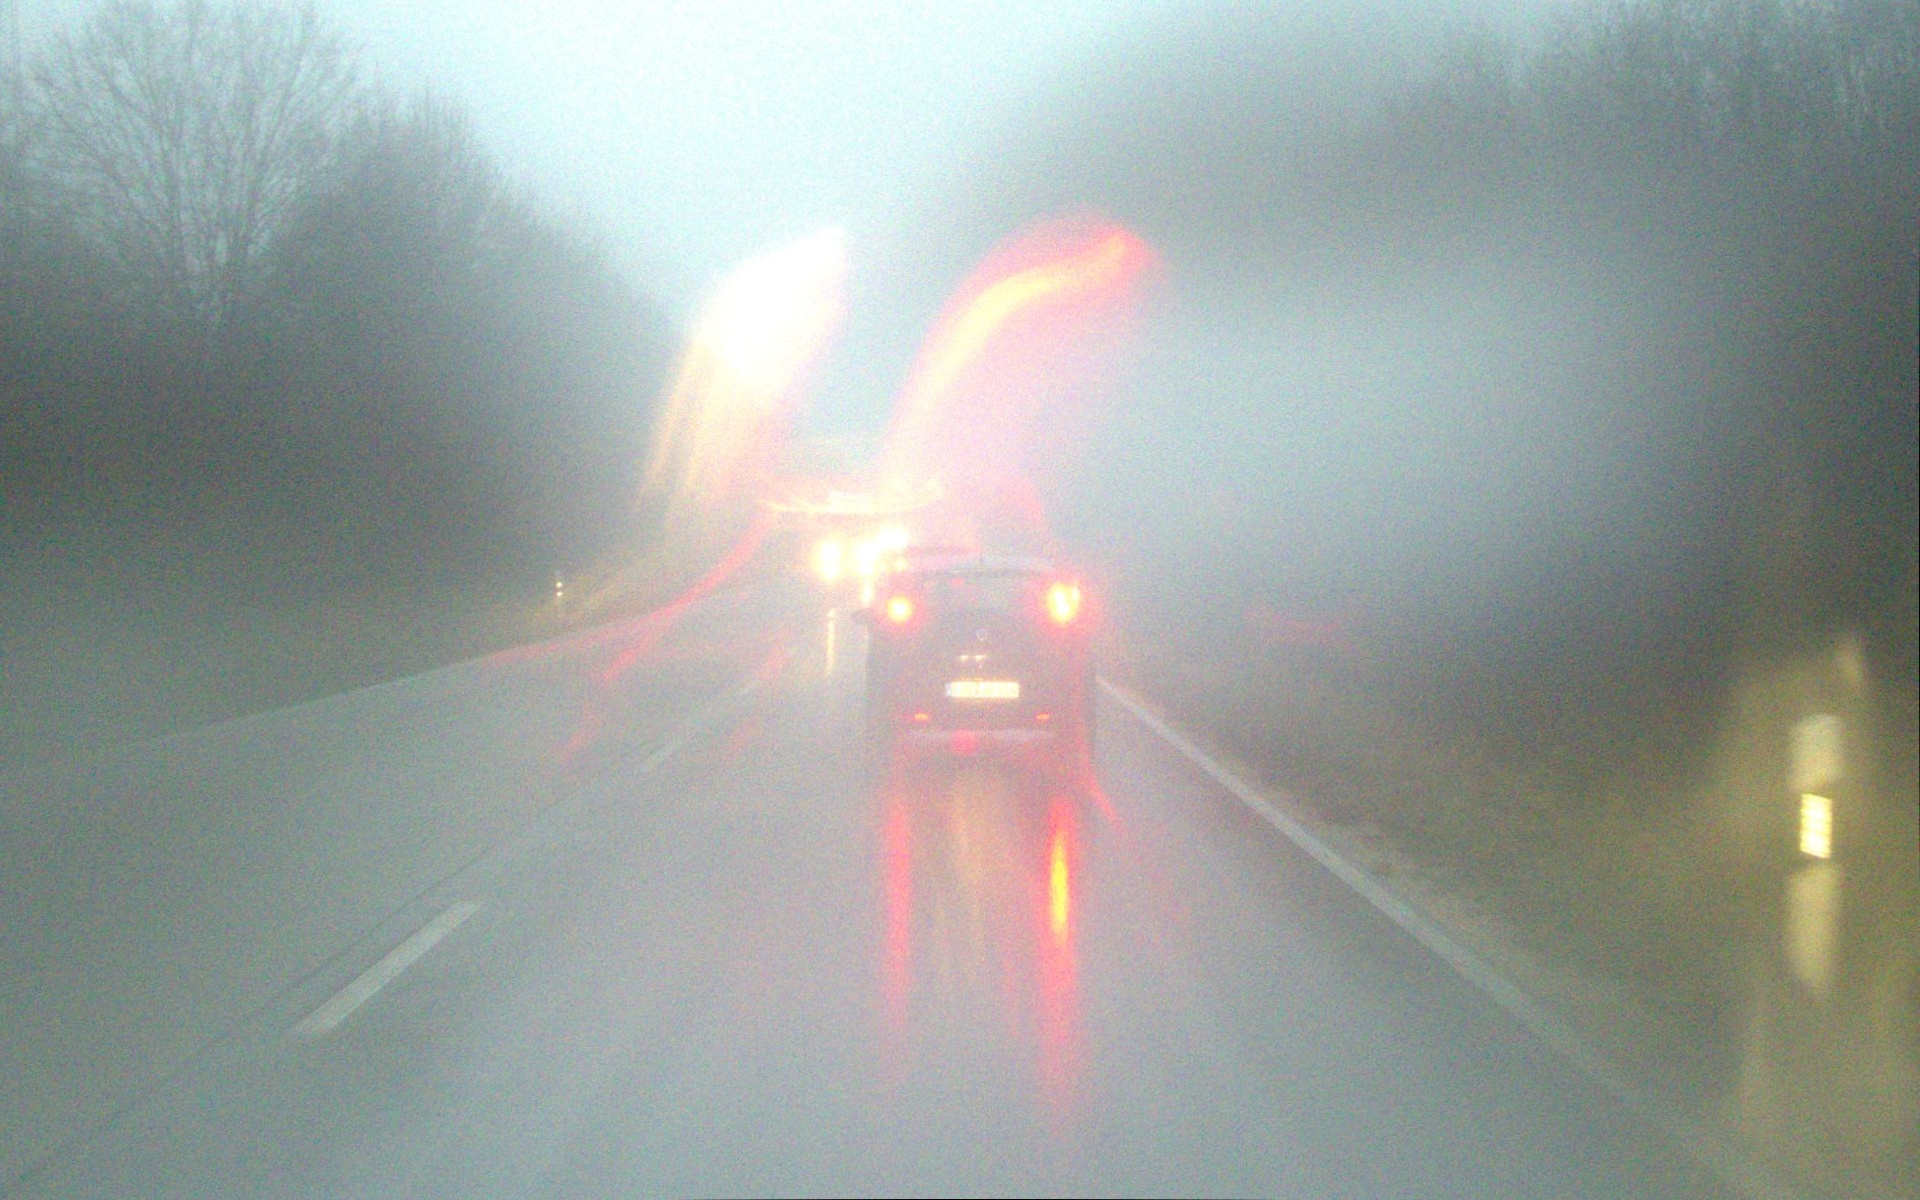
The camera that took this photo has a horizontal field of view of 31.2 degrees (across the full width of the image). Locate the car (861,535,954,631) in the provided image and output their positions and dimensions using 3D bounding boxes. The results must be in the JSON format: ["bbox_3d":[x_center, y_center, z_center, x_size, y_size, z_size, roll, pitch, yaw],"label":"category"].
[{"bbox_3d":[-1.022,-0.349,66.688,1.733,1.773,4.000,1,1,-1],"label":"car"}]

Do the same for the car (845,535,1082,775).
[{"bbox_3d":[0.010,0.364,25.883,1.648,1.666,3.514,1,1,-1],"label":"car"}]
